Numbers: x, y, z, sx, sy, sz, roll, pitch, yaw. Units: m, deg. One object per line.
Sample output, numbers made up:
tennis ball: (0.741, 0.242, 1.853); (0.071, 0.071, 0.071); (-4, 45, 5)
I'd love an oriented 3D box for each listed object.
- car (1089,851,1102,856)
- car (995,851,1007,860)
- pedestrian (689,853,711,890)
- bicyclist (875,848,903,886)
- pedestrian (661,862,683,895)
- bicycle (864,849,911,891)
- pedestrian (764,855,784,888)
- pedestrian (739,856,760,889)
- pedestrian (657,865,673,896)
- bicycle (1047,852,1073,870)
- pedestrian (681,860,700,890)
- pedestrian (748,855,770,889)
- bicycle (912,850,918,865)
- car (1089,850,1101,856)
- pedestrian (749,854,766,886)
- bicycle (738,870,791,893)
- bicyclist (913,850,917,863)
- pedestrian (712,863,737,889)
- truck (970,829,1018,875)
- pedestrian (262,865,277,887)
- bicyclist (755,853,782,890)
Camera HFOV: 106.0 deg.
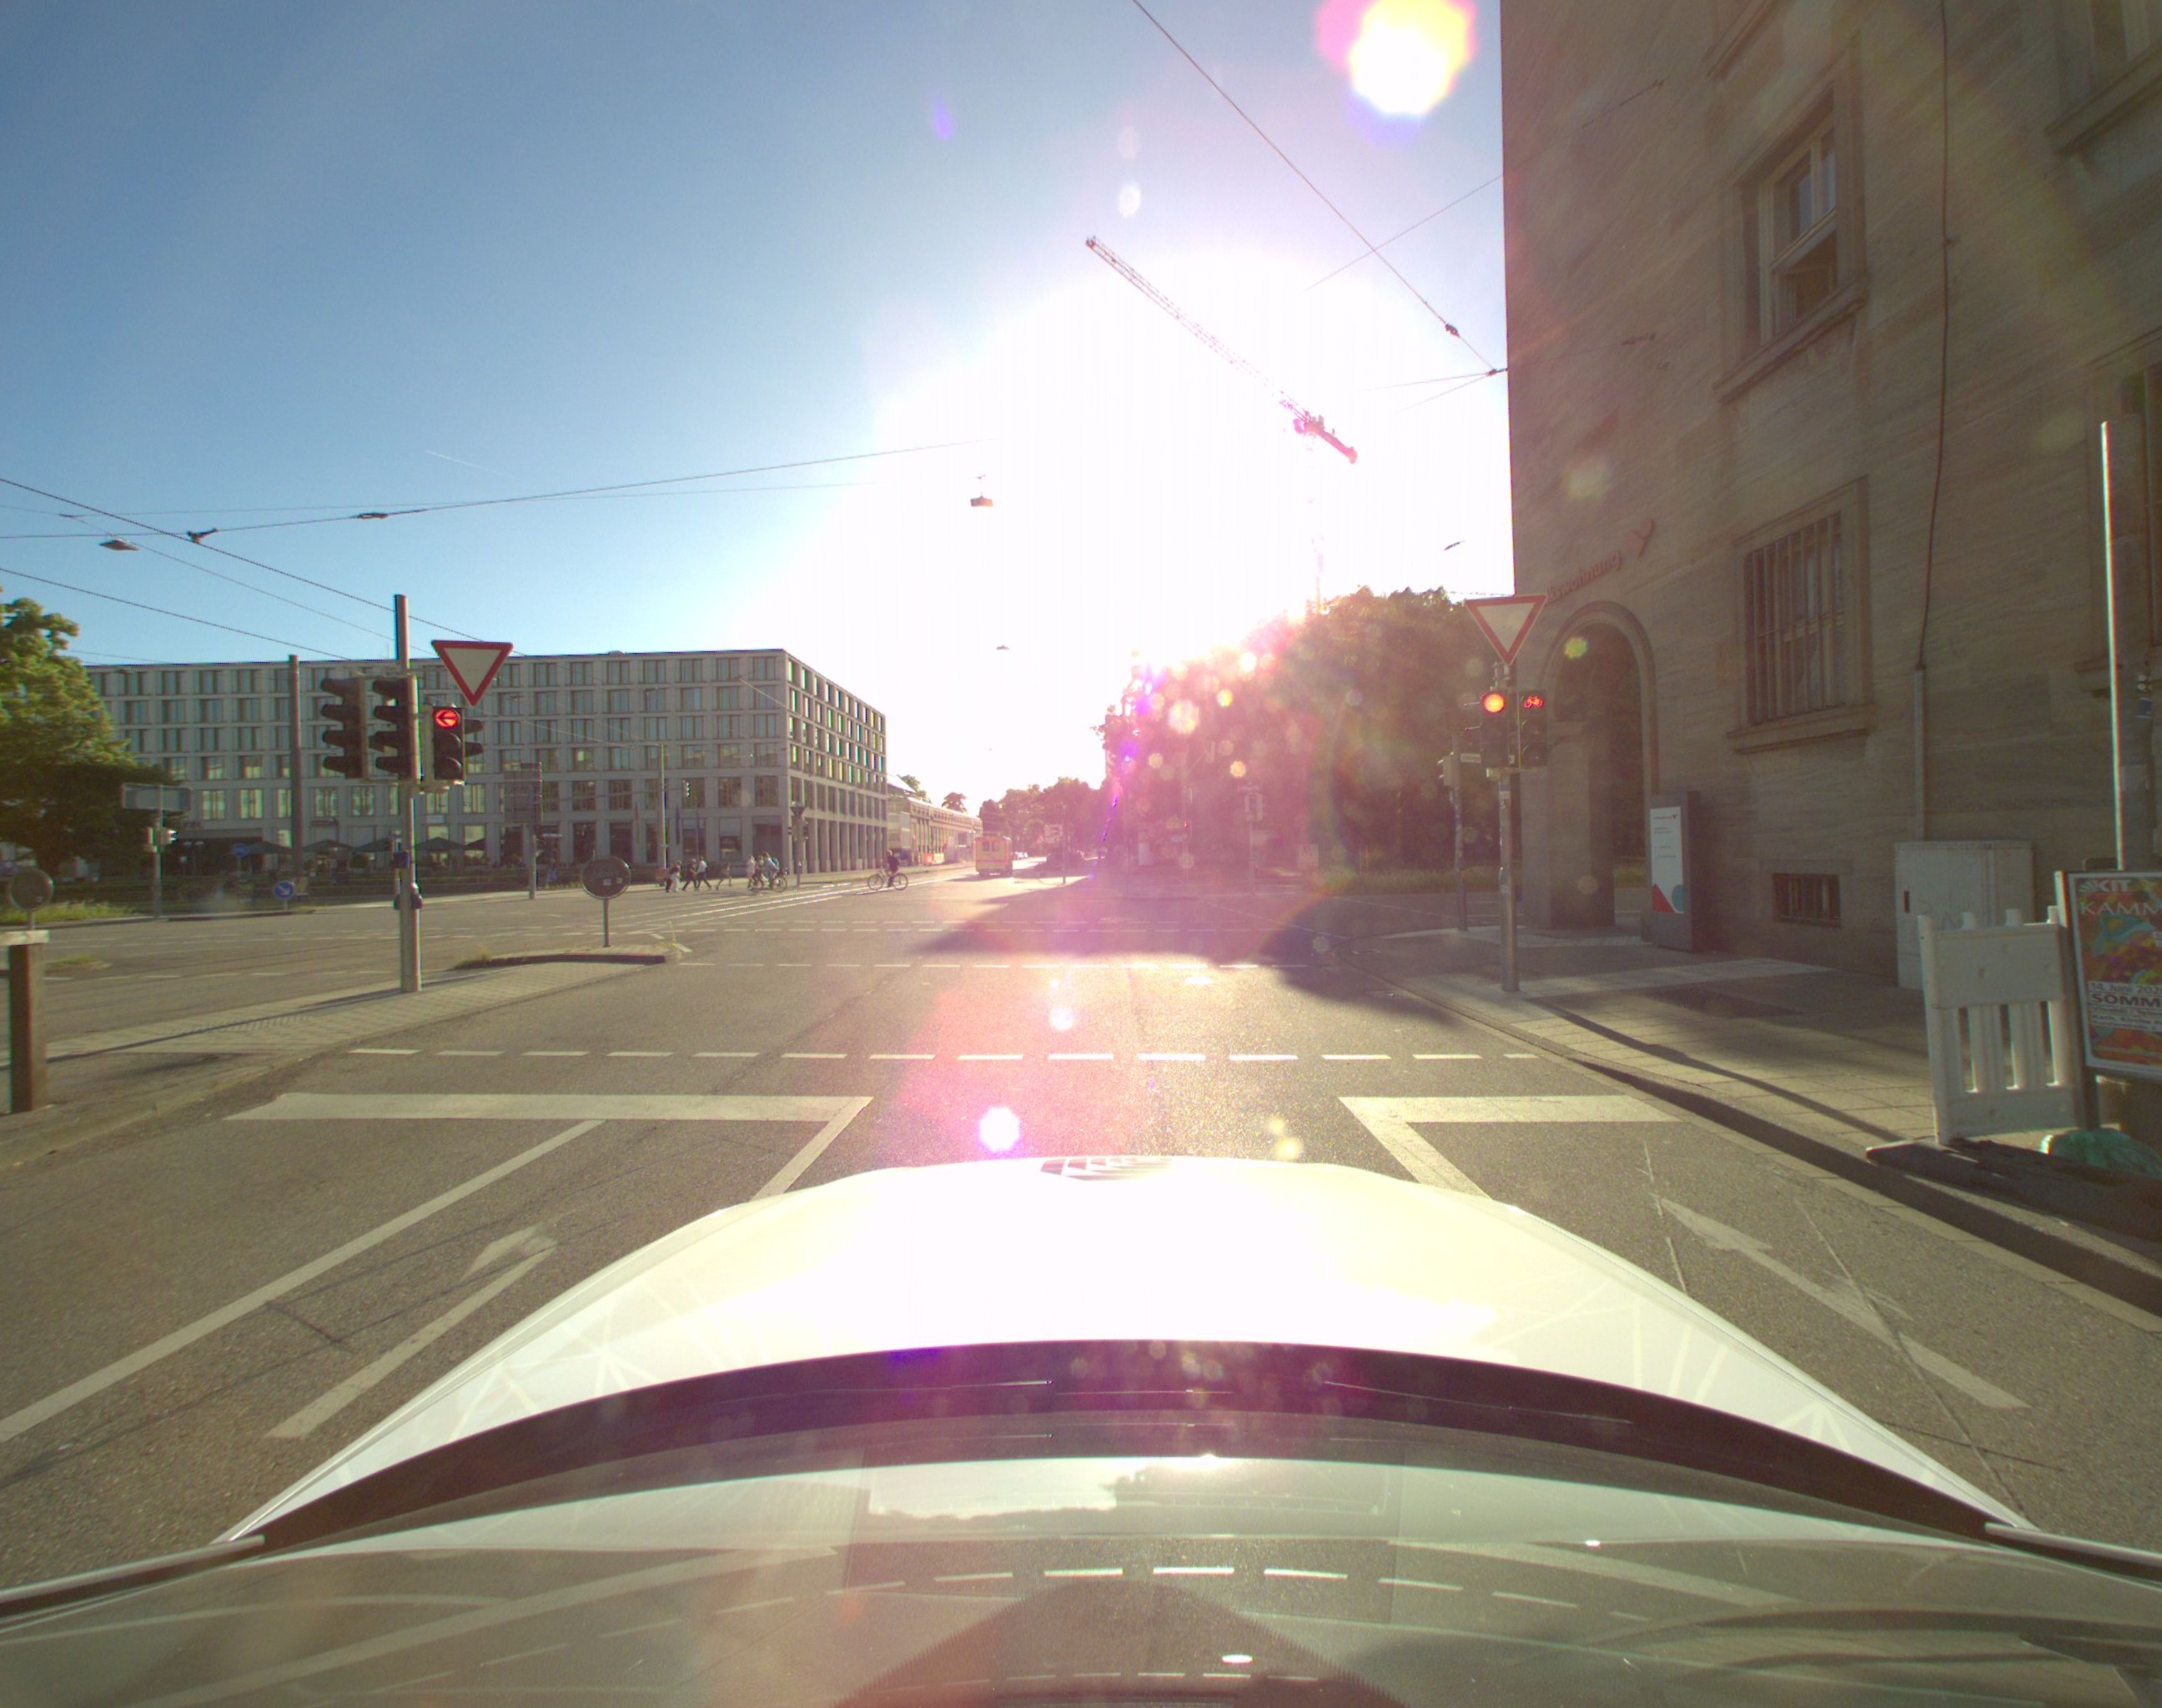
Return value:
car: (3.709, -0.138, 211.365); (3.207, 1.263, 1.373); (0, -1, 0)
car: (-15.480, 0.225, 157.271); (1.888, 1.607, 4.499); (-2, 0, 0)
pedestrian: (-20.363, 0.939, 43.560); (0.797, 1.918, 0.638); (-2, 0, 7)
bicyclist: (-8.425, 0.571, 35.748); (1.073, 1.641, 0.596); (-2, 0, -6)
pedestrian: (-21.382, 1.279, 42.596); (0.790, 1.644, 0.621); (-2, 0, -3)
bicycle: (-8.490, 0.694, 35.742); (1.895, 1.735, 0.596); (-2, 0, -6)
pedestrian: (-17.156, 0.960, 45.524); (0.865, 1.803, 0.533); (-2, 0, 7)
pedestrian: (-18.468, 1.002, 45.384); (0.735, 1.803, 0.717); (-2, 0, 7)
pedestrian: (-22.622, 1.436, 44.294); (0.698, 1.644, 0.615); (-1, 0, -30)
bicycle: (-2.110, 0.698, 81.562); (2.538, 1.743, 1.038); (0, -1, 1)
pedestrian: (-21.909, 1.147, 45.660); (0.690, 1.644, 0.623); (-2, 0, 8)
pedestrian: (-17.540, 0.971, 44.376); (0.865, 1.803, 0.665); (-2, 0, 7)
bicycle: (-26.705, 0.556, 131.006); (0.569, 2.296, 1.422); (-2, 0, 0)
car: (3.681, -0.253, 213.636); (3.207, 1.588, 1.445); (0, -1, -3)
pedestrian: (-18.470, 0.907, 46.502); (0.735, 1.803, 0.533); (-2, 0, 7)
bicycle: (-13.921, 1.206, 35.826); (2.061, 0.933, 0.574); (-2, 0, -6)
bicyclist: (-26.708, 0.452, 131.006); (0.569, 2.024, 0.762); (-2, 0, 0)
pedestrian: (-18.641, 1.153, 42.555); (0.993, 1.317, 0.765); (-2, 0, -7)
truck: (-6.144, -0.123, 58.293); (2.708, 3.016, 6.487); (-1, 0, 0)
pedestrian: (-61.582, 1.669, 61.789); (0.538, 1.669, 0.561); (0, -1, -2)
bicyclist: (-13.745, 0.764, 35.847); (0.973, 1.560, 0.574); (-2, 0, -5)
